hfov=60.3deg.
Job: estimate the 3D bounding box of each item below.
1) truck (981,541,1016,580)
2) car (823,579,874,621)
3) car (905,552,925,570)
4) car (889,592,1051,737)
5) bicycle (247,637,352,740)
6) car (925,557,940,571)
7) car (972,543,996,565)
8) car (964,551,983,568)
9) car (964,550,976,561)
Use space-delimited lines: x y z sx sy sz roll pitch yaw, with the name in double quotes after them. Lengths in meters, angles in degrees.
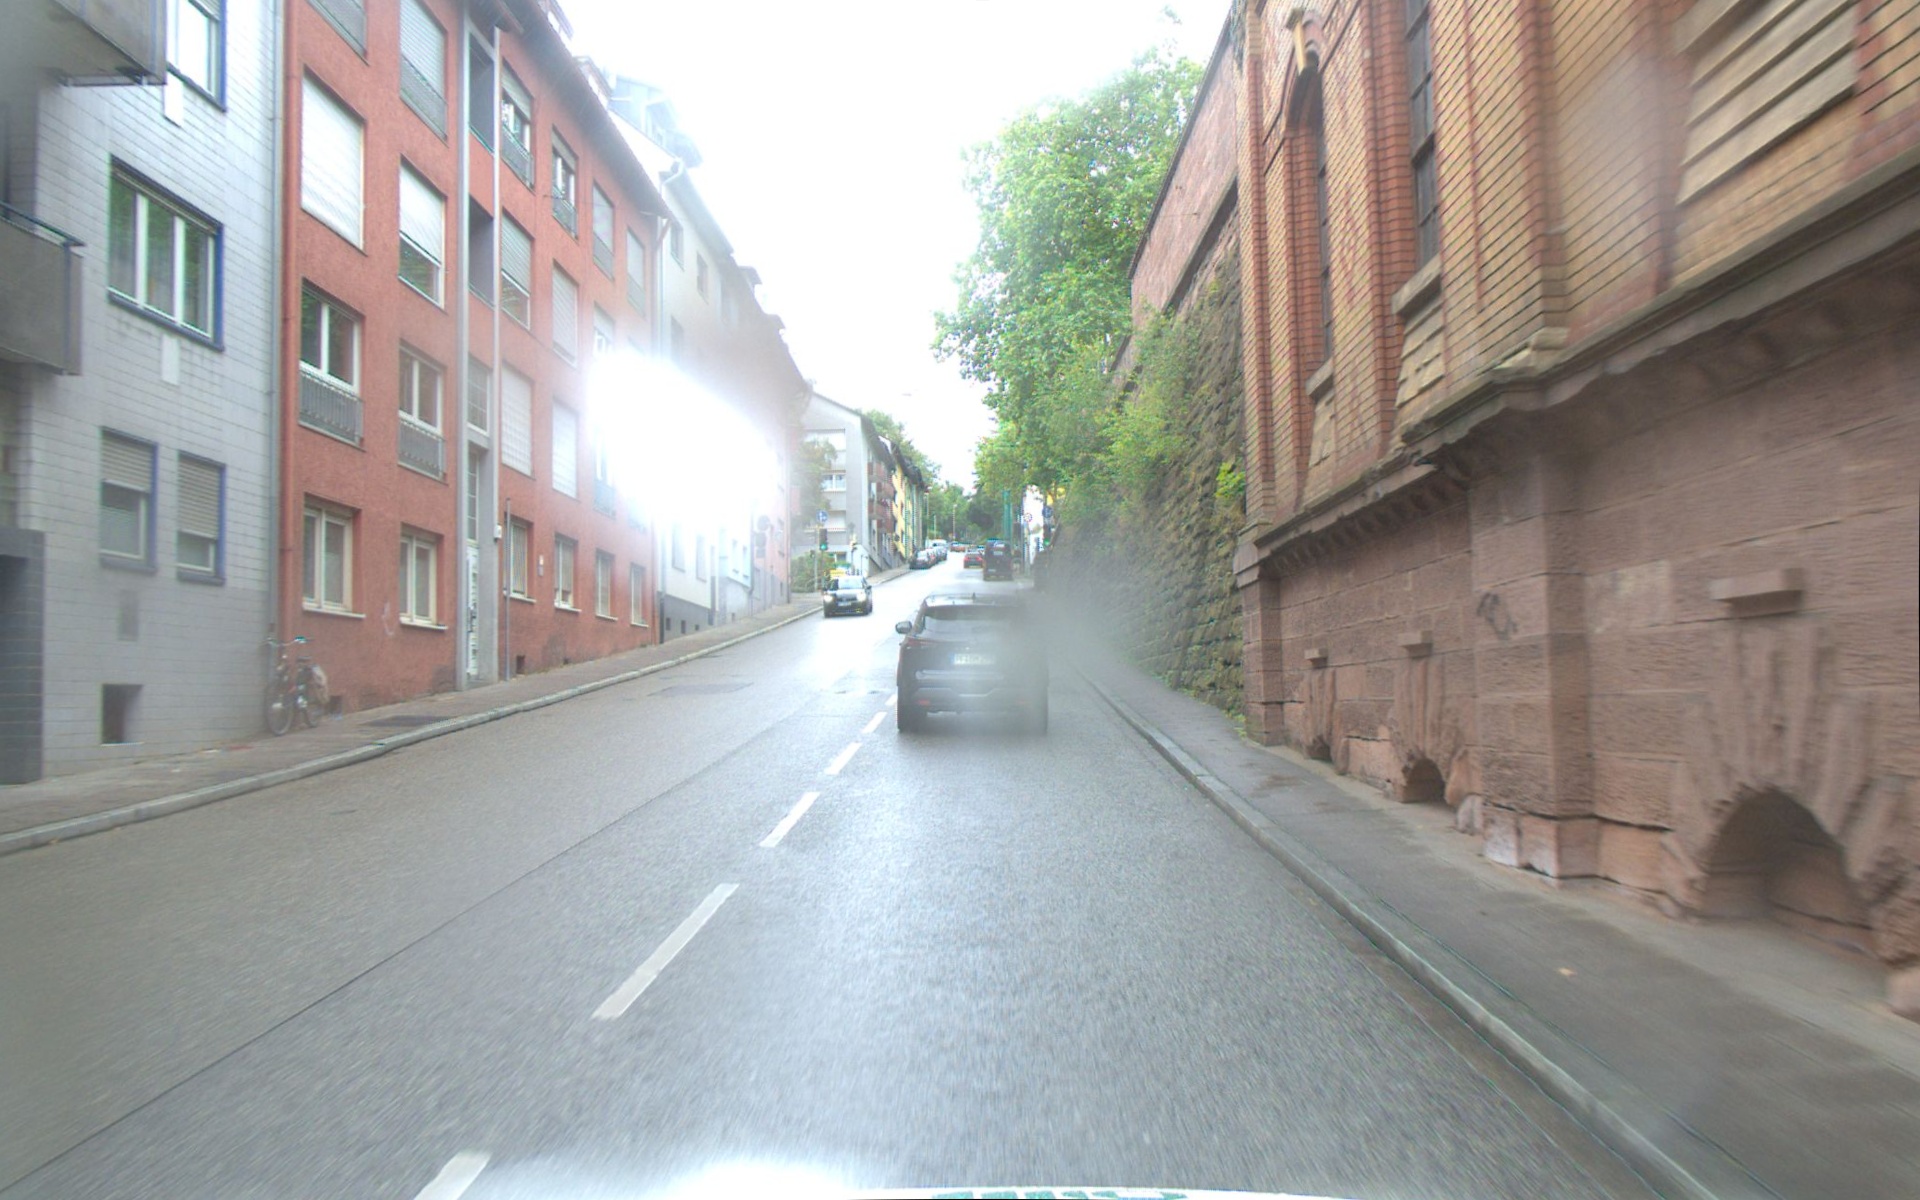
2.561 -2.639 110.903 2.242 2.482 4.453 -1 0 1 "truck"
-4.253 -0.023 63.643 1.679 1.473 3.921 -1 1 0 "car"
-4.236 -3.655 155.828 1.757 1.536 4.000 -1 0 1 "car"
0.089 0.722 20.710 1.843 1.621 3.920 0 0 -1 "car"
-8.012 1.046 20.132 0.488 1.127 1.801 -1 1 2 "bicycle"
-3.319 -4.371 200.273 1.757 1.536 4.000 -1 0 1 "car"
1.828 -3.464 125.694 1.757 1.536 4.501 -1 0 1 "car"
1.323 -3.827 156.443 1.757 1.536 4.000 -1 0 1 "car"
1.446 -6.630 245.570 1.757 1.536 4.000 -1 0 1 "car"
